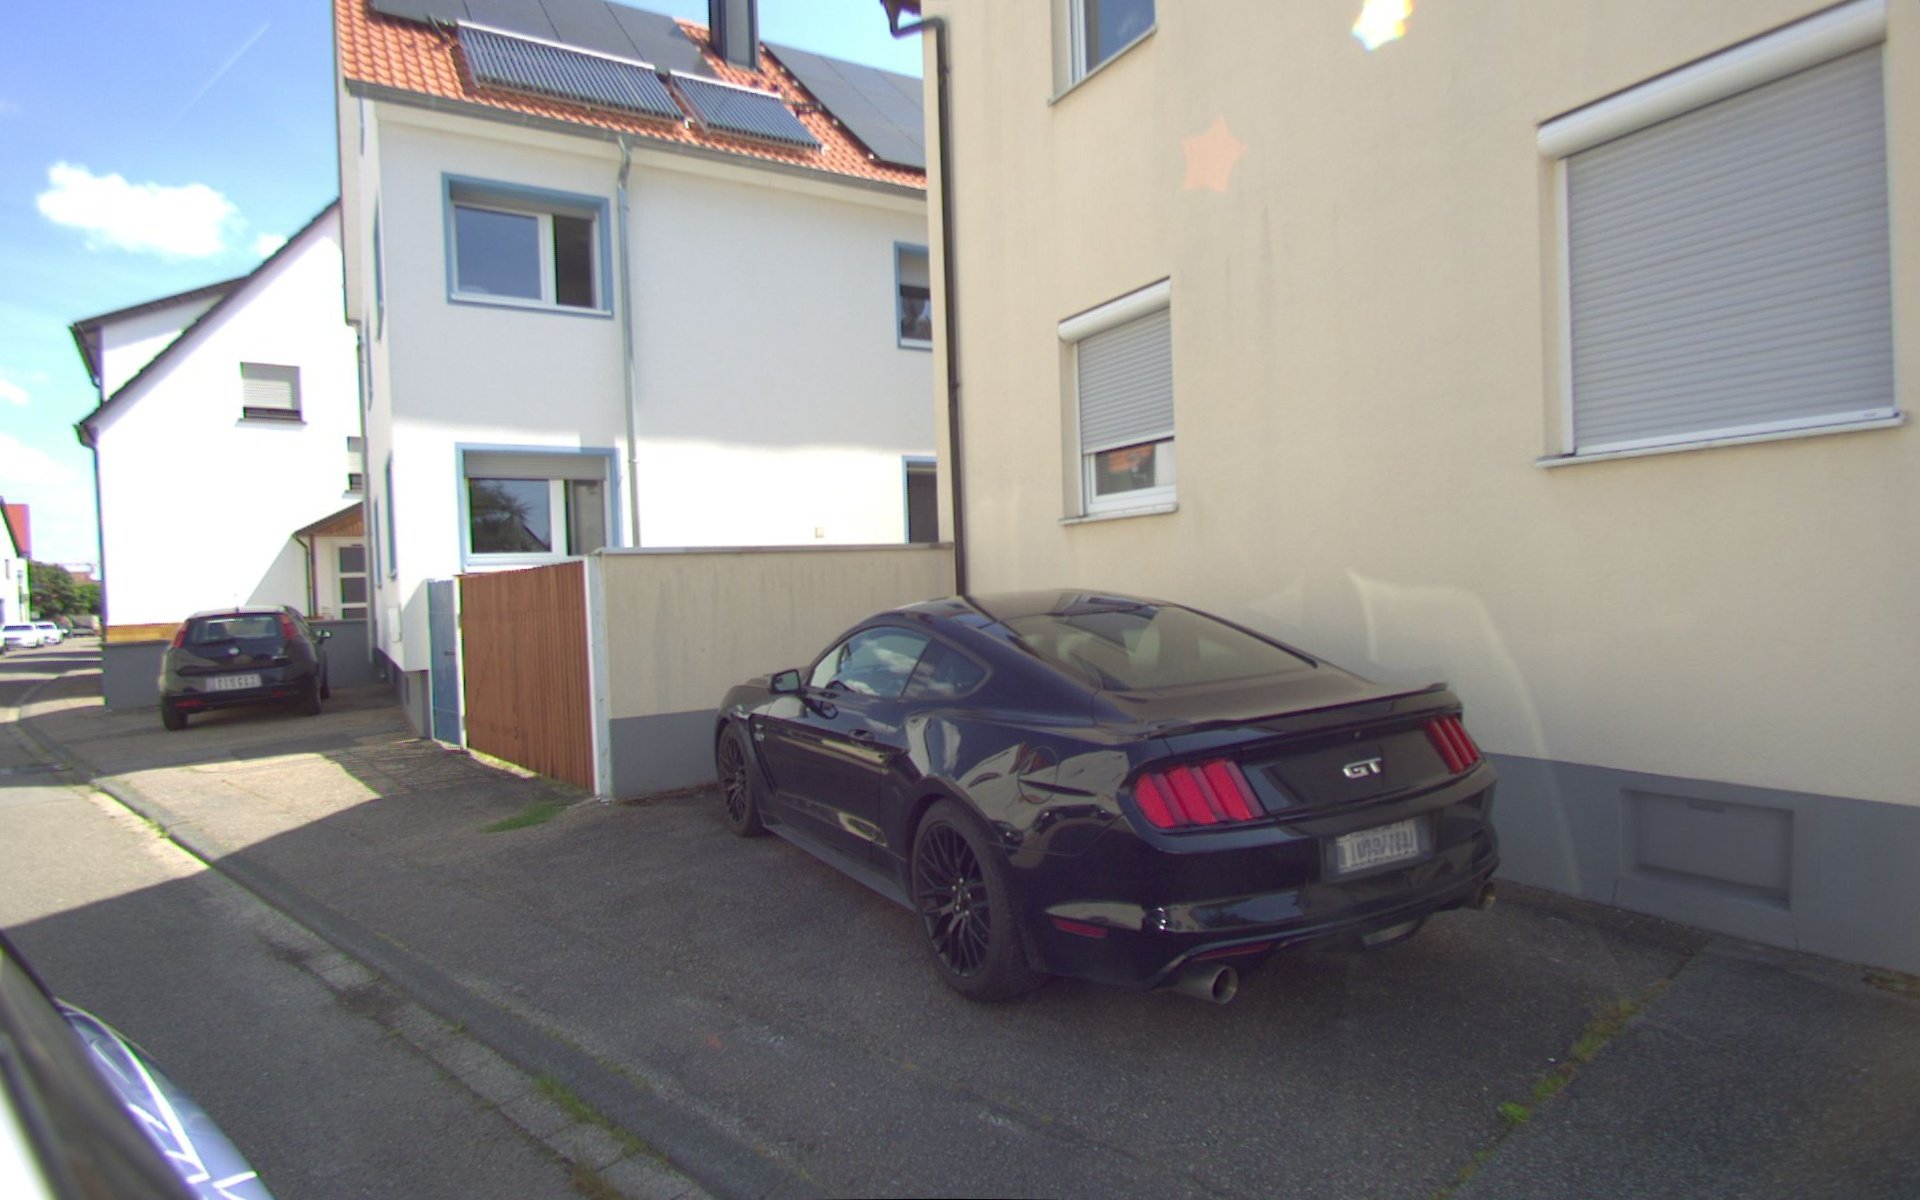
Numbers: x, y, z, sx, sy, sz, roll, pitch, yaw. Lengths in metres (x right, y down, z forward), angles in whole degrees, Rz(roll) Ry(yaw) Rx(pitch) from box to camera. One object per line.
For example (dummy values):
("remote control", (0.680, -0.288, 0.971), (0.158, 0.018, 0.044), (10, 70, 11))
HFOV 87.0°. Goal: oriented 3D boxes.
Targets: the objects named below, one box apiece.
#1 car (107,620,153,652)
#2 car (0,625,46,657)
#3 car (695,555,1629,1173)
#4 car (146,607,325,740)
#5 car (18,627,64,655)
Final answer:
("car", (-47.900, 2.038, 58.479), (1.758, 1.621, 4.009), (-6, 3, -37))
("car", (-52.170, 2.254, 56.084), (1.758, 1.511, 4.048), (-6, 3, -37))
("car", (0.239, 0.591, 4.726), (1.745, 1.359, 4.484), (-4, 2, -29))
("car", (-9.885, 0.905, 14.061), (1.615, 1.466, 3.798), (-4, 1, -31))
("car", (-59.847, 2.635, 65.981), (1.758, 1.511, 4.048), (-6, 3, -37))
